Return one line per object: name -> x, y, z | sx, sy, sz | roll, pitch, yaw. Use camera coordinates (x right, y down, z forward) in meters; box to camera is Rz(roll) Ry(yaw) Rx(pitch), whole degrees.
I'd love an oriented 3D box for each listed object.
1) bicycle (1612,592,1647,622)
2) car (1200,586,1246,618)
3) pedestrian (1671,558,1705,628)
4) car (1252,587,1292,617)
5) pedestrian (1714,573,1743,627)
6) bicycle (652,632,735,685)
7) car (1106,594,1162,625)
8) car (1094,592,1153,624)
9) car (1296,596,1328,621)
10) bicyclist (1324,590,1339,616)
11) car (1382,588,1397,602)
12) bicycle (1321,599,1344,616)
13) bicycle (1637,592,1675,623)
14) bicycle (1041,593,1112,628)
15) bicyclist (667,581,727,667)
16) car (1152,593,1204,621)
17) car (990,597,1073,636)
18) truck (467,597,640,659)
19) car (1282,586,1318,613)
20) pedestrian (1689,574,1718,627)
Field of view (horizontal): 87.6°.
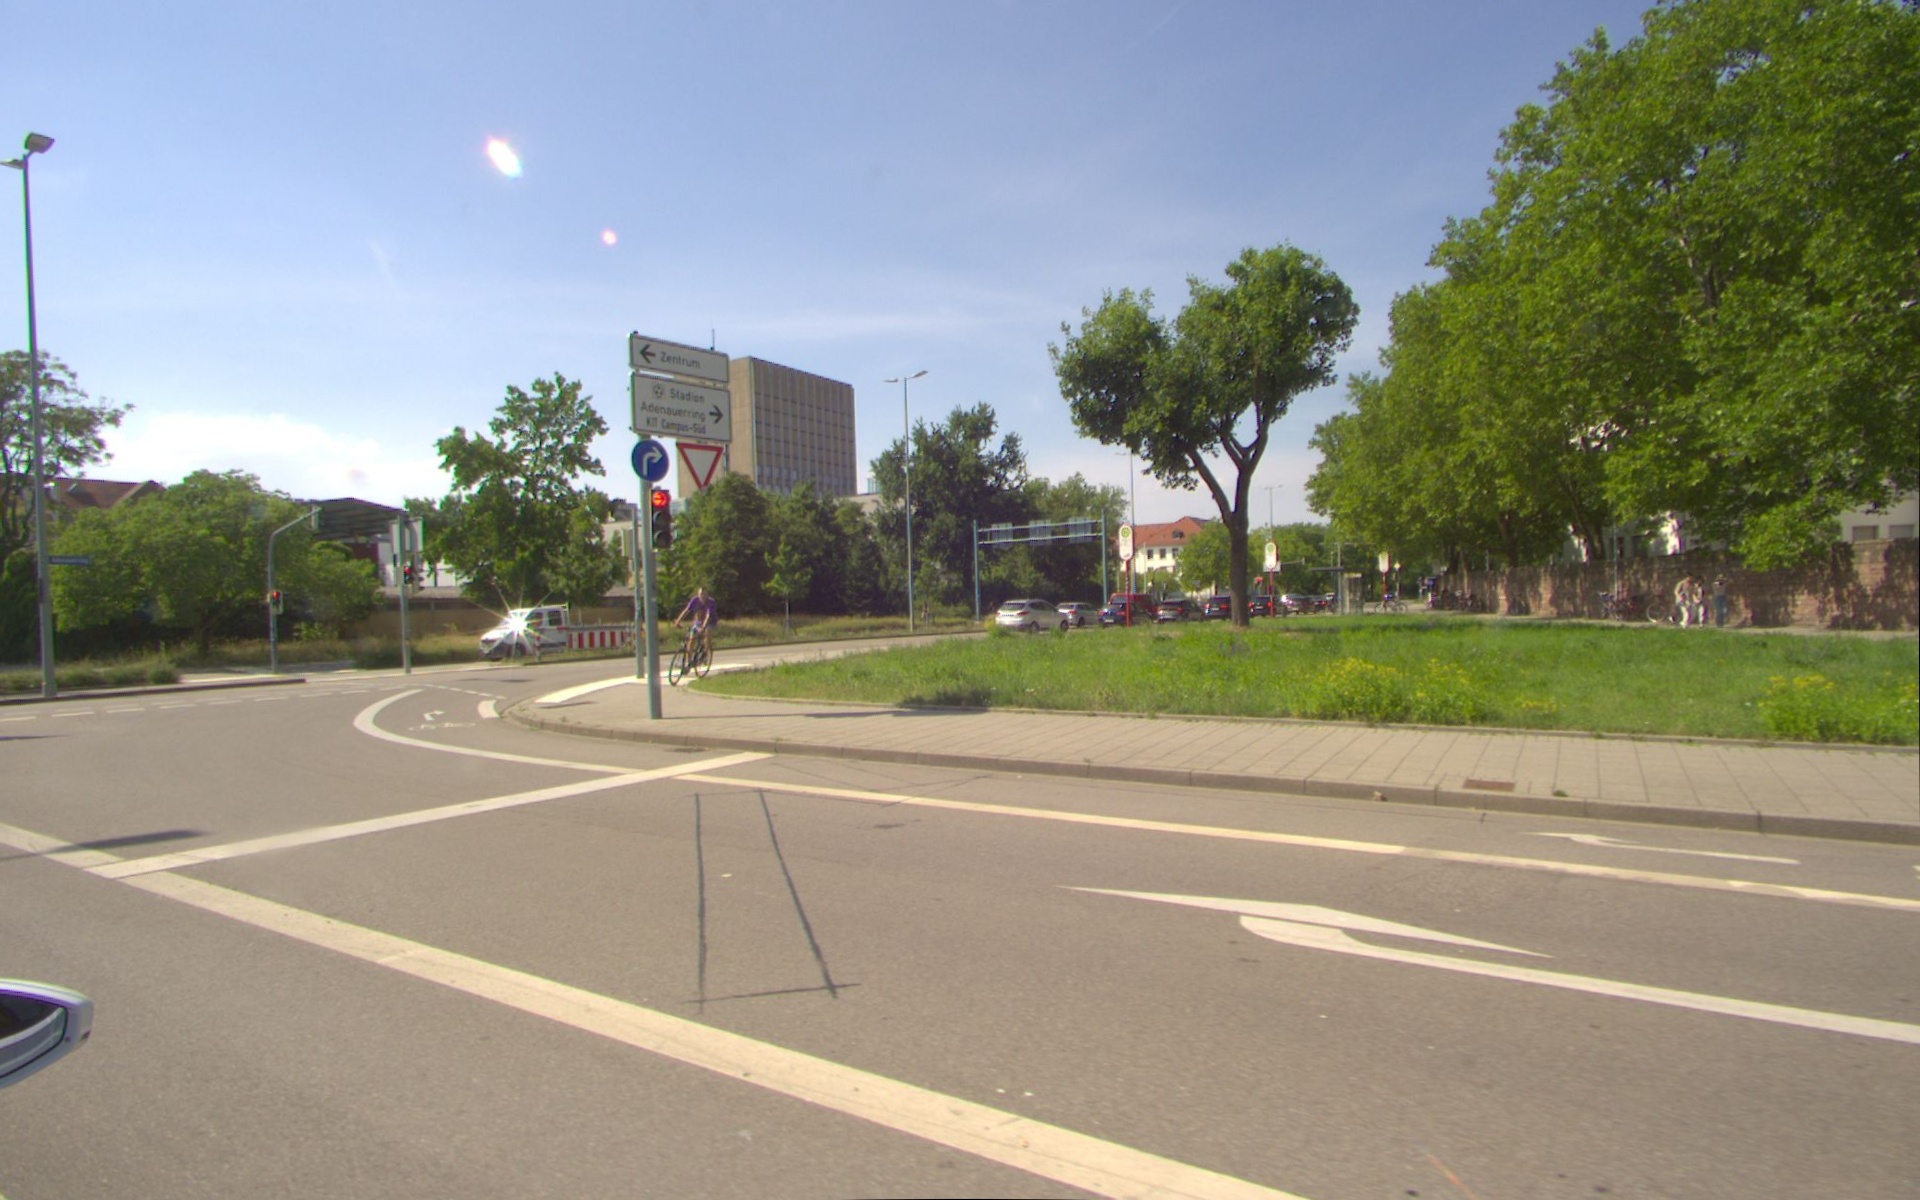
bicycle -> 24.568, 0.252, 36.761 | 0.439, 1.047, 1.447 | -1, 1, 6
car -> 17.496, 0.103, 66.494 | 1.971, 2.040, 3.980 | -1, 1, 30
pedestrian -> 21.565, -0.205, 29.680 | 0.513, 2.040, 0.596 | -2, 1, -9
car -> 22.926, 0.115, 73.533 | 1.971, 2.040, 3.980 | -1, 1, 30
pedestrian -> 23.585, -0.001, 30.728 | 0.515, 1.599, 0.701 | -2, 1, 23
bicycle -> -5.137, 1.105, 19.415 | 0.673, 0.899, 1.930 | -2, 0, 15
car -> 10.958, 0.569, 62.880 | 1.951, 1.821, 4.587 | -1, 0, 31
car -> 8.823, 0.410, 53.833 | 1.563, 1.612, 3.974 | -1, 1, 35
car -> 30.381, 0.734, 86.310 | 1.970, 2.039, 3.984 | -2, -2, 29
bicyclist -> 30.149, 0.225, 81.155 | 0.769, 2.039, 1.265 | -2, -2, 38
car -> 68.251, -0.832, 159.170 | 1.968, 2.039, 3.987 | -1, -2, 26
bicycle -> 30.229, 0.616, 81.222 | 0.838, 1.233, 3.462 | -2, -2, 37
bicycle -> 24.364, 0.249, 35.082 | 0.439, 1.047, 1.447 | -1, 1, 6
bicycle -> 6.549, 0.584, 56.142 | 1.979, 1.839, 3.963 | -2, 0, 43
bicyclist -> -5.177, 0.473, 19.702 | 1.068, 1.659, 0.486 | -1, 1, 29
car -> 13.249, 0.403, 60.584 | 1.564, 1.612, 3.972 | -1, 1, 37
car -> 3.355, 0.754, 46.355 | 1.691, 1.640, 4.183 | -1, 1, 40
truck -> -17.947, 1.190, 44.716 | 2.380, 2.386, 7.007 | -3, -1, 33
car -> 27.362, -0.084, 80.521 | 1.971, 2.040, 3.980 | -1, 1, 30
pedestrian -> 22.737, 0.022, 30.624 | 0.515, 1.599, 0.701 | -2, 1, 23
